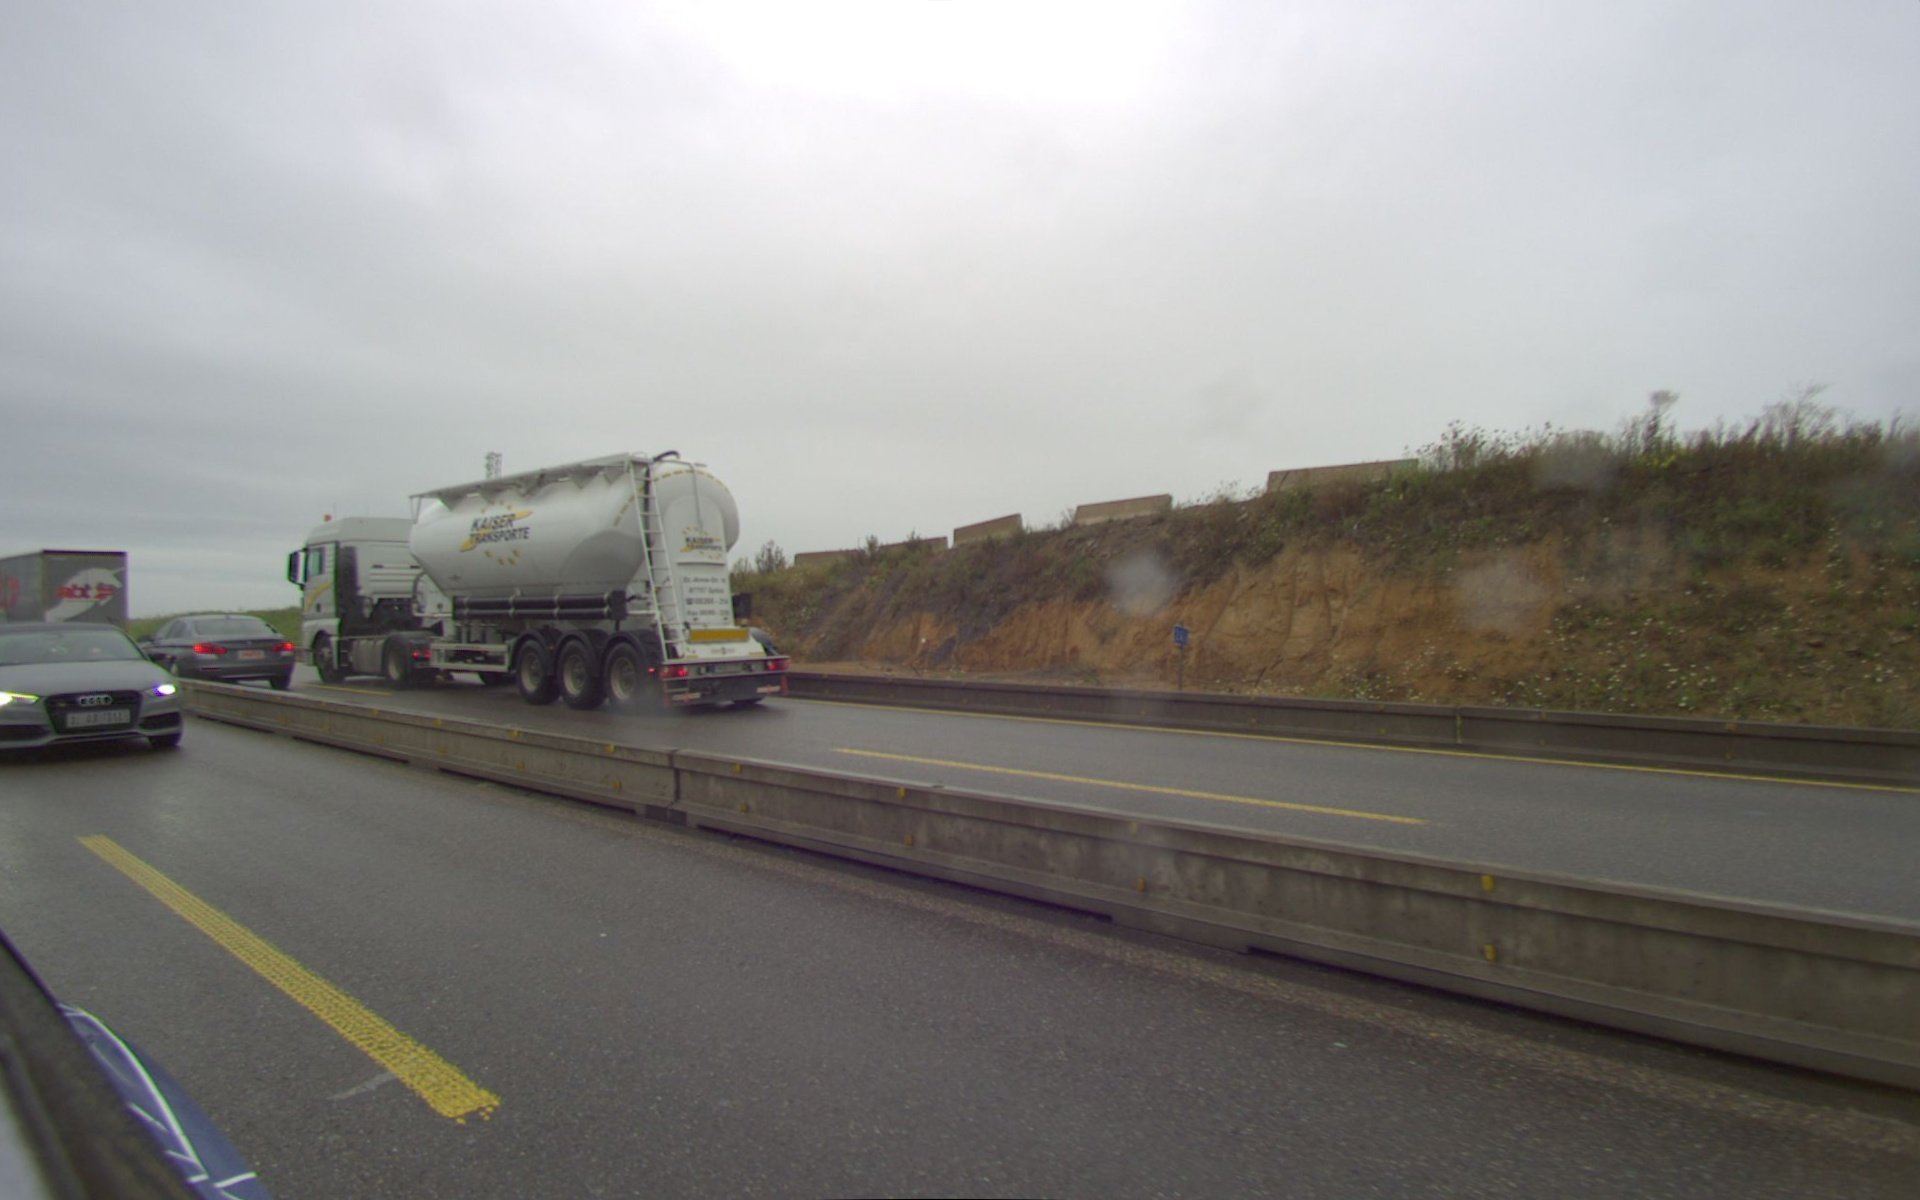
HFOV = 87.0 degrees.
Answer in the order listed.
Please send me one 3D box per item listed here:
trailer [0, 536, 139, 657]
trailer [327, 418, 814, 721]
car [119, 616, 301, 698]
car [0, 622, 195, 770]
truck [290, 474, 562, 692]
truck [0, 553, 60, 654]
[{"bbox_3d":[-39.258,0.068,43.049,15.675,4.455,2.967,-2,-3,37],"label":"trailer"},{"bbox_3d":[-7.660,-0.330,18.317,11.530,3.994,3.221,-1,-1,41],"label":"trailer"},{"bbox_3d":[-15.086,1.067,20.259,4.947,1.450,1.785,-1,-2,40],"label":"car"},{"bbox_3d":[-10.460,0.964,11.550,4.082,1.393,1.783,-1,-1,38],"label":"car"},{"bbox_3d":[-11.512,-0.267,21.658,5.877,3.985,3.198,-1,-1,40],"label":"truck"},{"bbox_3d":[-45.005,0.231,47.414,6.921,4.443,2.951,-1,-3,38],"label":"truck"}]
